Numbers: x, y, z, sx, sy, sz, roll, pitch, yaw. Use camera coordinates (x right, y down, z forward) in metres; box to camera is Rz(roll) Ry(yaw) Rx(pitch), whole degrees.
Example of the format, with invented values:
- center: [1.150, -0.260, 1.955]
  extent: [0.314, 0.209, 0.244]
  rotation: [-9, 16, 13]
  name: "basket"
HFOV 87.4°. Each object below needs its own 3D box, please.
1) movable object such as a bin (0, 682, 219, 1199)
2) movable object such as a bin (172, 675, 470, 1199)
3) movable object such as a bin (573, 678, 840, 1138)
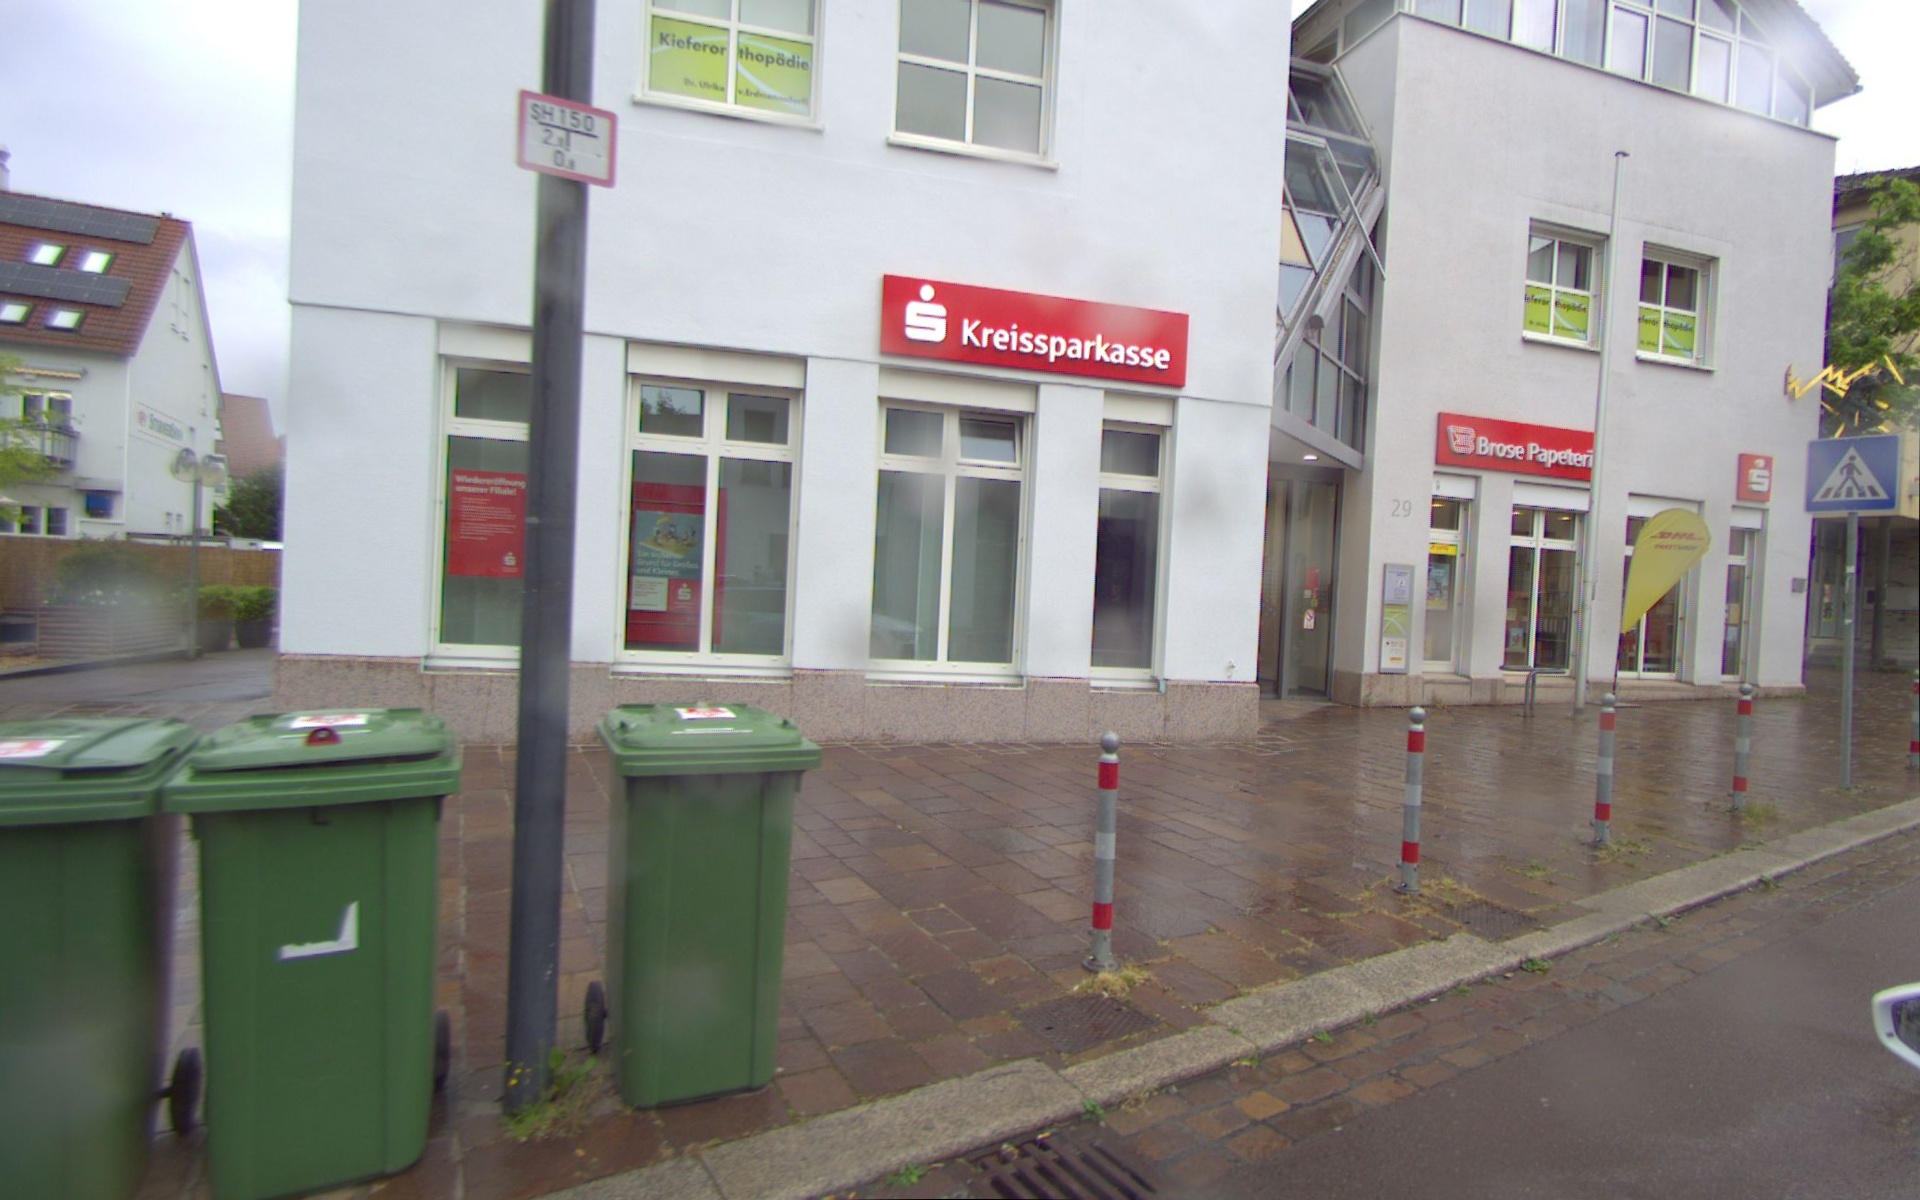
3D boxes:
- center: [-2.110, 0.765, 2.290]
  extent: [0.545, 1.097, 0.656]
  rotation: [2, 0, -26]
  name: "movable object such as a bin"
- center: [-1.561, 0.782, 2.550]
  extent: [0.545, 1.129, 0.656]
  rotation: [2, 0, -26]
  name: "movable object such as a bin"
- center: [-0.773, 0.817, 2.987]
  extent: [0.605, 1.110, 0.655]
  rotation: [2, 0, -28]
  name: "movable object such as a bin"
